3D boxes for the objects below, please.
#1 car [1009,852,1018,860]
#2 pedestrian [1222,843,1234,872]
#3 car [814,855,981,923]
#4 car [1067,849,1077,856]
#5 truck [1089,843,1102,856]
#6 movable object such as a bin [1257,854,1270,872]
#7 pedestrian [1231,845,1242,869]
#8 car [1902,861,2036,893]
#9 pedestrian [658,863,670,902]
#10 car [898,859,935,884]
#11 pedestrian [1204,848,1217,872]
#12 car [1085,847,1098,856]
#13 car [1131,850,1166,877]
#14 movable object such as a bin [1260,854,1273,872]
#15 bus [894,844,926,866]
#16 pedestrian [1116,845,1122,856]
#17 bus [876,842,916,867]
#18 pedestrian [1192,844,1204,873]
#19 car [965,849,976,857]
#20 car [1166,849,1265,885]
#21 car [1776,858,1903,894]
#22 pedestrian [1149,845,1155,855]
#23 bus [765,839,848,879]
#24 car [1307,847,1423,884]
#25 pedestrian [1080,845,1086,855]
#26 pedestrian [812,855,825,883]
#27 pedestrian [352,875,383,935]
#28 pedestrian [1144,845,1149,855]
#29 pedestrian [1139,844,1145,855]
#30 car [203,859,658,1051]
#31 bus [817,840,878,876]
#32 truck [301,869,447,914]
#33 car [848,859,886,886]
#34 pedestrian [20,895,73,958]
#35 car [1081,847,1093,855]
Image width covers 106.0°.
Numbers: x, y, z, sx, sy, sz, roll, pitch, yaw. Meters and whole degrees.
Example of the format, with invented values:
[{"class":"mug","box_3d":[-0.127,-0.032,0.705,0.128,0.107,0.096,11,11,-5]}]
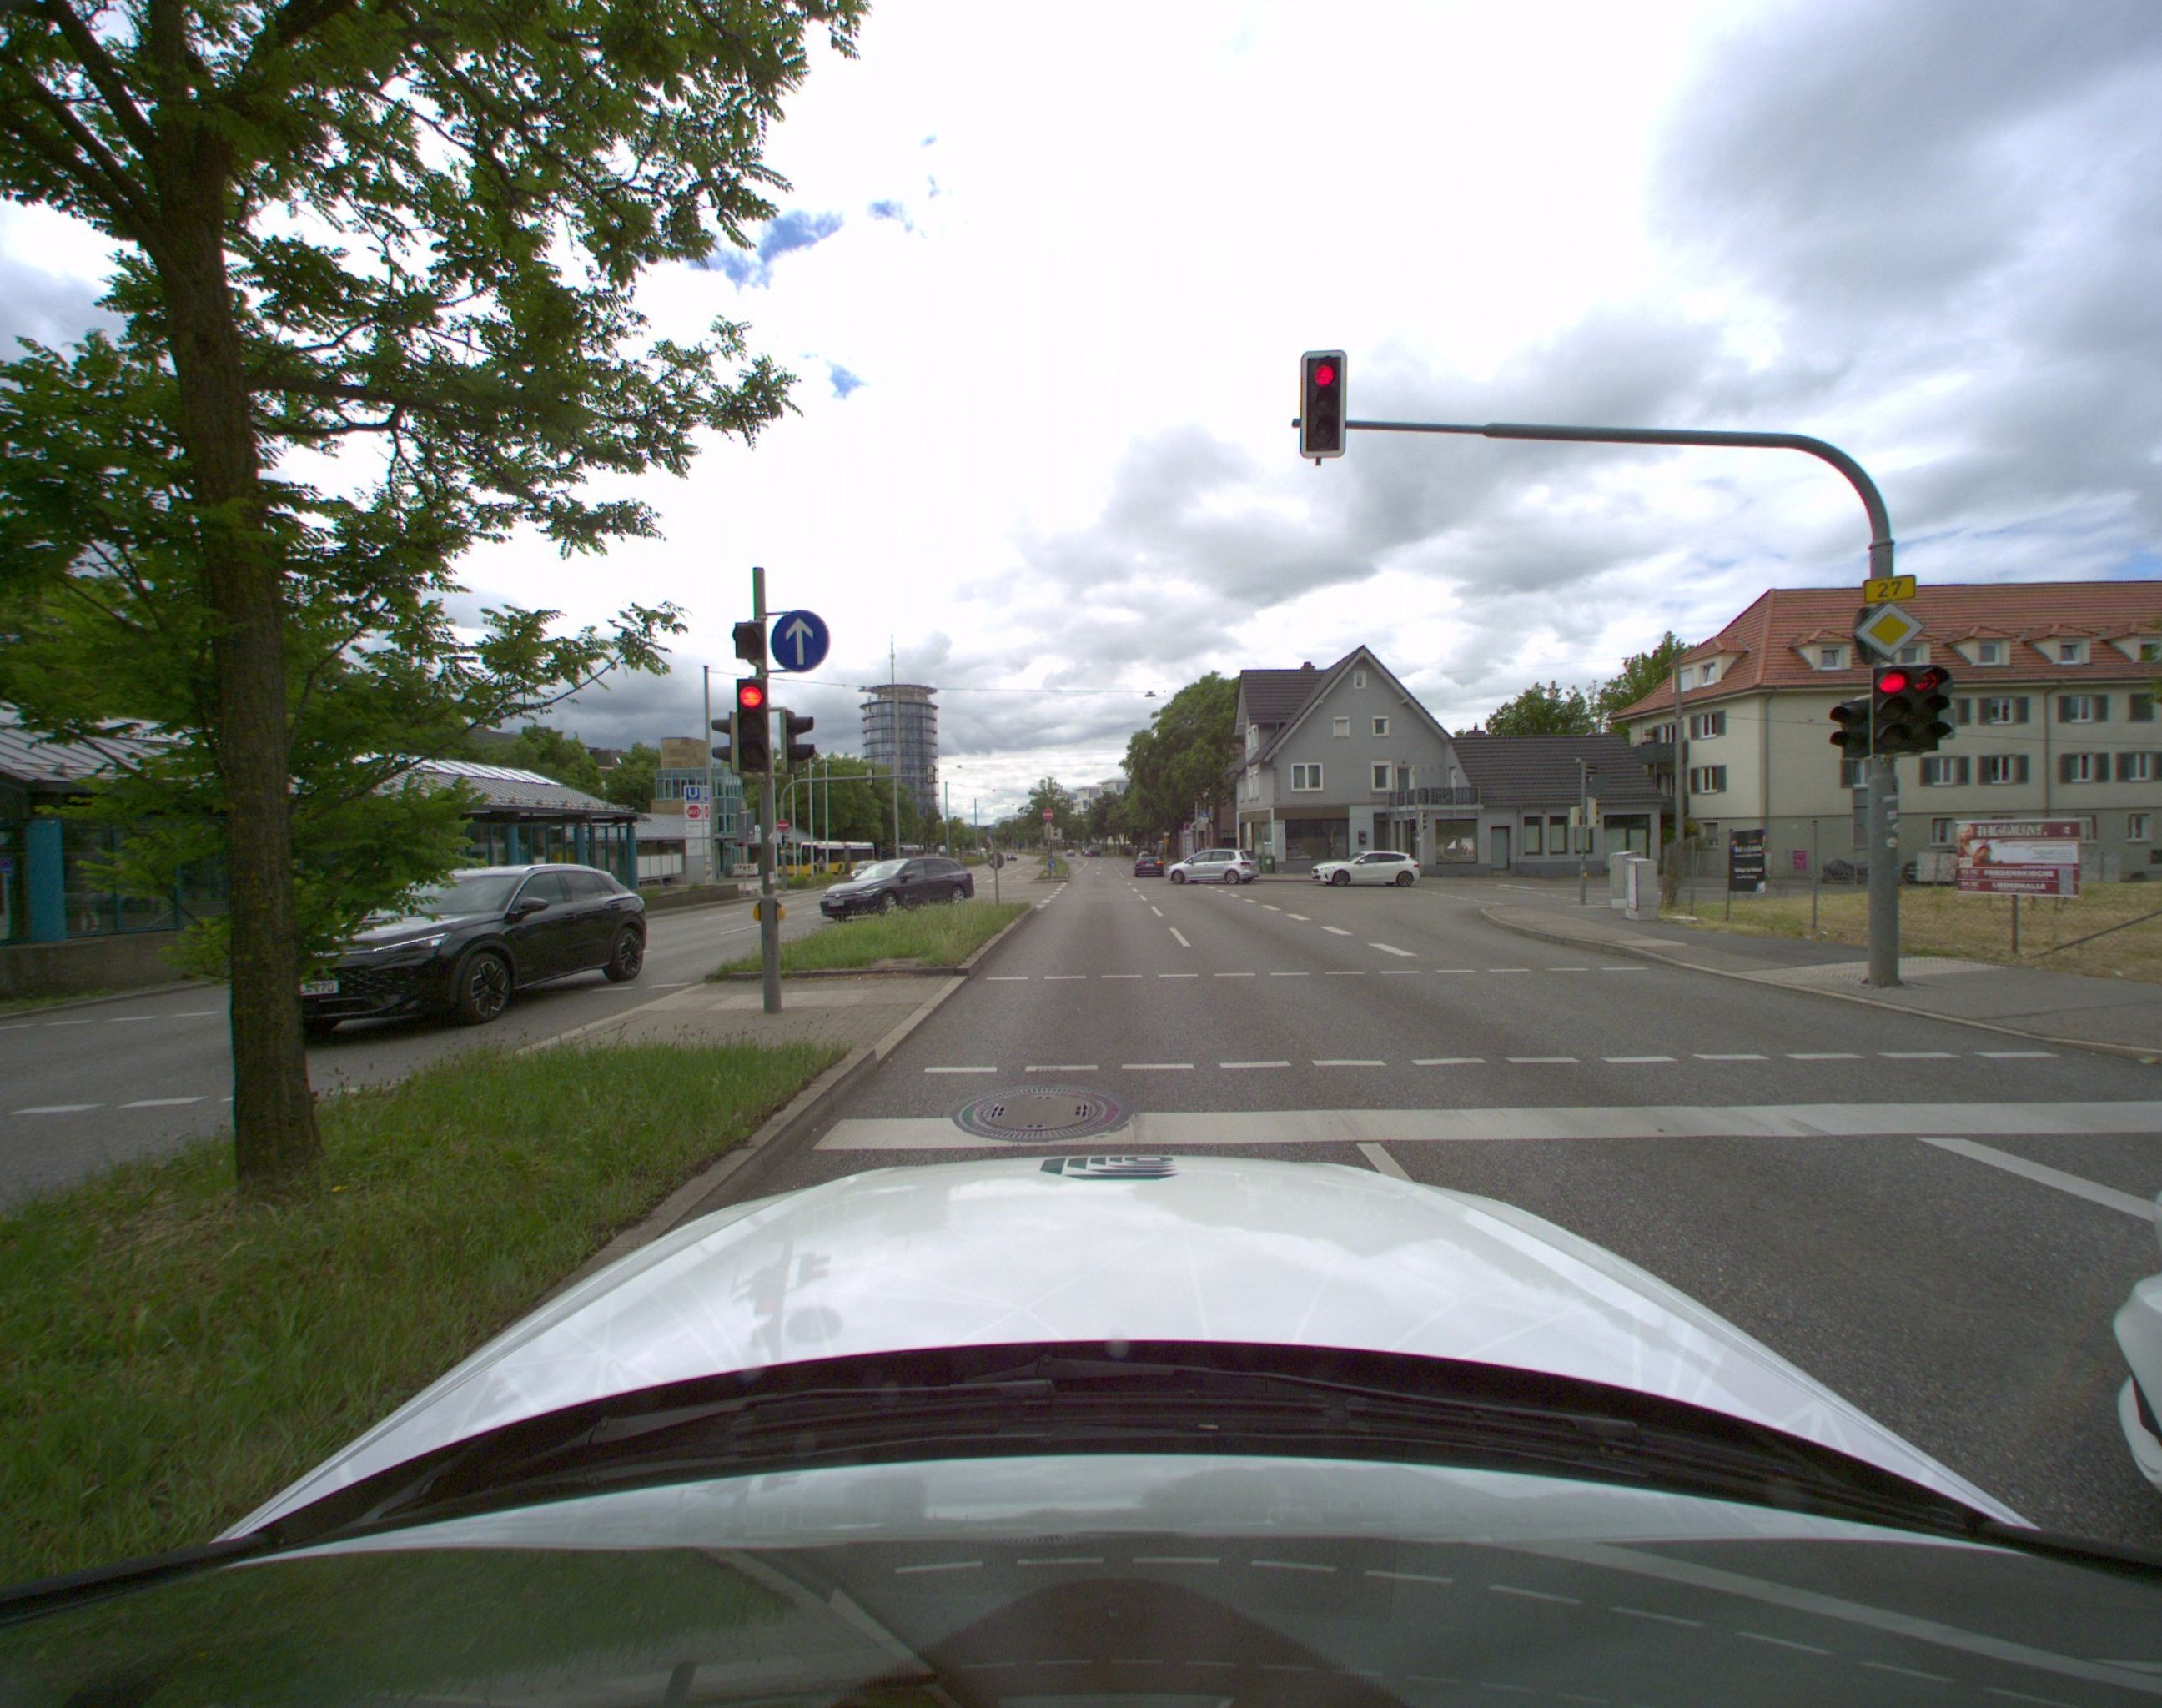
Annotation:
[{"class":"car","box_3d":[-12.891,0.395,155.087,1.700,1.492,3.555,-2,0,-5]},{"class":"pedestrian","box_3d":[9.161,0.240,50.714,0.701,1.760,1.055,-2,0,9]},{"class":"car","box_3d":[-4.543,0.796,20.819,1.693,1.481,4.315,0,1,30]},{"class":"car","box_3d":[-1.904,-0.352,173.477,1.963,1.420,4.017,-2,0,-3]},{"class":"truck","box_3d":[2.760,-0.815,156.675,2.246,2.416,4.928,-1,0,-3]},{"class":"movable object such as a bin","box_3d":[10.040,0.489,44.751,0.527,0.979,0.737,-2,0,2]},{"class":"pedestrian","box_3d":[10.925,0.188,57.279,0.701,1.662,0.872,-2,0,9]},{"class":"car","box_3d":[39.813,1.020,36.580,3.972,1.377,1.871,0,0,2]},{"class":"pedestrian","box_3d":[-17.400,1.176,33.989,0.420,1.591,0.353,-2,0,-28]},{"class":"car","box_3d":[-10.338,1.056,51.327,1.680,1.462,3.552,-2,0,-3]},{"class":"pedestrian","box_3d":[8.129,0.364,51.258,0.701,1.507,0.872,-2,0,6]},{"class":"car","box_3d":[2.103,-0.471,165.289,2.246,1.757,4.928,-2,0,-3]},{"class":"car","box_3d":[4.072,0.571,49.429,1.882,1.494,4.100,-2,0,2]},{"class":"movable object such as a bin","box_3d":[10.033,0.476,43.961,0.527,0.979,0.737,-2,0,2]},{"class":"bus","box_3d":[-26.033,0.125,124.332,3.134,3.225,7.765,-2,0,0]},{"class":"pedestrian","box_3d":[8.279,-0.746,177.355,0.930,2.308,1.008,0,-1,-8]},{"class":"bus","box_3d":[-26.091,0.099,115.323,3.135,3.225,10.282,-2,0,0]},{"class":"pedestrian","box_3d":[7.467,0.283,51.850,0.701,1.780,0.872,-2,0,7]},{"class":"car","box_3d":[-27.252,-0.168,201.223,1.958,2.014,4.001,0,-1,2]},{"class":"car","box_3d":[6.104,0.554,37.180,4.061,1.540,1.840,0,0,32]},{"class":"car","box_3d":[34.043,0.983,36.619,3.972,1.537,1.871,0,0,2]},{"class":"pedestrian","box_3d":[11.064,-0.593,126.723,0.649,1.570,0.669,-2,0,-6]},{"class":"bus","box_3d":[-24.321,0.404,72.873,2.975,3.250,10.186,-2,0,6]},{"class":"car","box_3d":[11.933,0.490,34.398,4.229,1.477,2.000,-1,0,-1]},{"class":"pedestrian","box_3d":[0.464,-0.885,199.618,1.231,2.402,1.306,-2,0,-8]},{"class":"pedestrian","box_3d":[-18.590,1.050,57.632,0.658,1.897,0.686,-2,0,1]},{"class":"pedestrian","box_3d":[-21.566,1.515,24.630,0.532,1.762,0.749,-2,0,-29]},{"class":"pedestrian","box_3d":[10.180,-0.592,126.867,0.649,1.570,0.669,-2,0,-6]},{"class":"pedestrian","box_3d":[11.192,-0.808,148.661,0.967,2.014,0.981,0,-1,1]},{"class":"car","box_3d":[-6.707,0.889,9.121,1.830,1.521,4.069,-3,0,-2]},{"class":"bus","box_3d":[-23.349,0.371,81.873,2.975,3.270,7.889,-2,0,6]},{"class":"truck","box_3d":[-27.604,1.438,32.002,4.014,1.517,1.980,-2,0,-31]},{"class":"car","box_3d":[-13.491,1.147,51.538,1.681,1.578,3.344,-2,0,-4]},{"class":"pedestrian","box_3d":[-28.506,1.995,22.446,0.520,1.655,0.709,-1,0,-5]},{"class":"car","box_3d":[1.296,-0.554,174.111,2.246,1.647,4.927,-2,0,-3]}]
